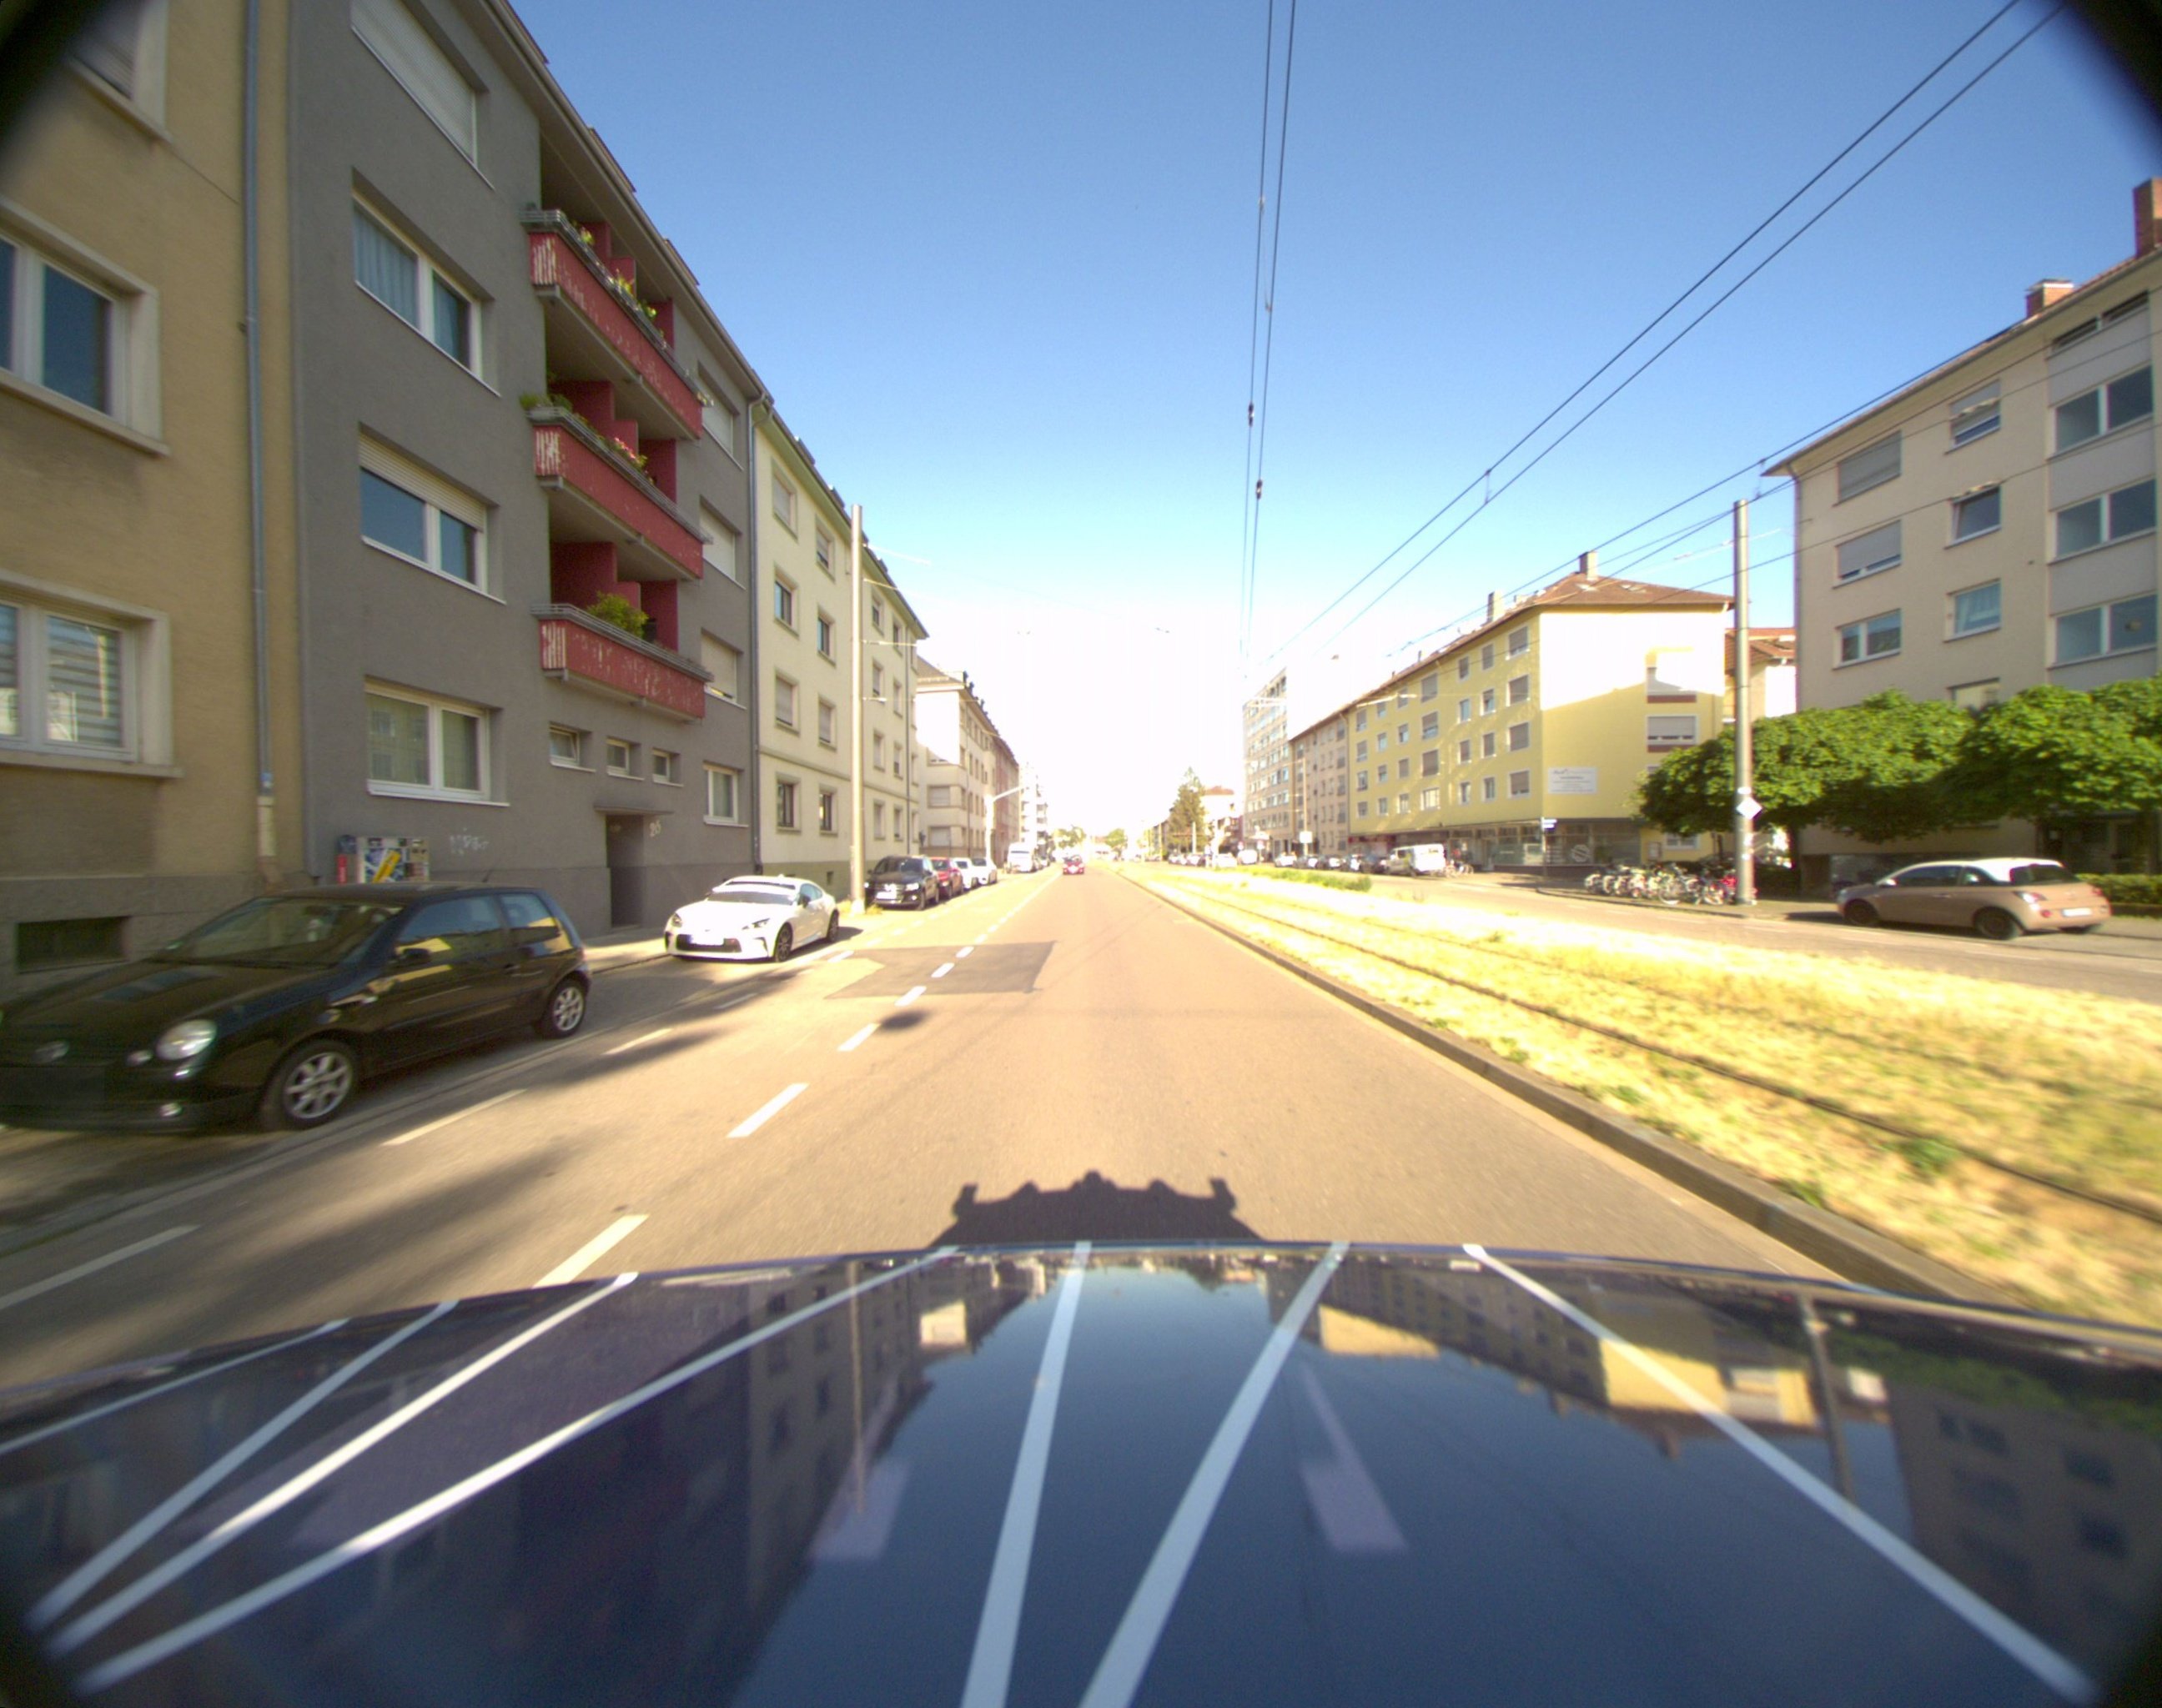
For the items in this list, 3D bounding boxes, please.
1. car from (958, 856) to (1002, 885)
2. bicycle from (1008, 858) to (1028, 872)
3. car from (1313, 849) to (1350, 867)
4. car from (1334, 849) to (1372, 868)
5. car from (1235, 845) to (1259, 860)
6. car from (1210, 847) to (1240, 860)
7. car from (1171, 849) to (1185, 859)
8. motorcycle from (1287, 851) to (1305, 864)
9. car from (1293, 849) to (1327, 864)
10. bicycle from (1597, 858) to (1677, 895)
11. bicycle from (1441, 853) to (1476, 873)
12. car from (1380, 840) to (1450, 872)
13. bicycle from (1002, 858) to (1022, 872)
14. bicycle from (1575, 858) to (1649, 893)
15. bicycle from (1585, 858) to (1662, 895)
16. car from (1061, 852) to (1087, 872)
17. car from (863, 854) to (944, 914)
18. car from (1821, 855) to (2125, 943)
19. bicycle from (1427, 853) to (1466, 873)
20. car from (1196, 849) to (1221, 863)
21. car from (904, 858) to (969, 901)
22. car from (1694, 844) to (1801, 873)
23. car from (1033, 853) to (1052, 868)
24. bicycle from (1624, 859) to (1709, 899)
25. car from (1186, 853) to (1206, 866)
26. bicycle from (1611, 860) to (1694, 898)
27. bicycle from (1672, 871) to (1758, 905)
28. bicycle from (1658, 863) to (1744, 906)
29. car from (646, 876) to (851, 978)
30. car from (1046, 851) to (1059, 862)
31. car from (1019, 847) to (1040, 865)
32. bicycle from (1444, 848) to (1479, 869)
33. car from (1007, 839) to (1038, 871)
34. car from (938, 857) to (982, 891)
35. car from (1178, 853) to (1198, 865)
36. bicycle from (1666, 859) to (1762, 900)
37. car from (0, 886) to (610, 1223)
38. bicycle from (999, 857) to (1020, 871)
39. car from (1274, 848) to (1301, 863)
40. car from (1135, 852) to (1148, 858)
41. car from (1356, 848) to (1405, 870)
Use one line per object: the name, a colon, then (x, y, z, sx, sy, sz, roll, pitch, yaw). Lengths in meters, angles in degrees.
car: (-5.270, 0.827, 40.058, 1.698, 1.450, 4.379, 0, 0, 1)
bicycle: (-5.155, 0.889, 61.974, 0.487, 1.081, 2.023, -4, 1, -42)
car: (22.350, 0.313, 68.012, 1.787, 1.412, 4.414, -3, 0, 0)
car: (22.350, 0.357, 62.564, 1.787, 1.377, 3.767, -3, 1, 0)
car: (22.731, -0.212, 104.289, 1.999, 1.887, 4.669, -3, 1, -2)
car: (14.939, -0.055, 79.155, 1.839, 1.377, 4.412, 0, 0, -6)
car: (14.424, -0.019, 113.342, 1.617, 1.550, 3.999, 1, 0, 0)
motorcycle: (22.041, 0.357, 77.990, 2.115, 1.132, 0.486, -4, 1, -33)
car: (22.173, 0.232, 73.607, 1.788, 1.377, 4.414, -3, 0, -2)
bicycle: (18.306, 0.731, 25.057, 2.052, 1.086, 0.616, -3, 1, 6)
bicycle: (22.535, 0.532, 45.334, 1.824, 1.099, 0.390, -3, 1, 1)
car: (22.393, 0.092, 51.293, 1.999, 1.938, 5.499, -3, 0, -3)
bicycle: (-5.561, 0.858, 61.130, 1.912, 1.081, 0.474, 1, 5, 43)
bicycle: (18.434, 0.755, 26.408, 2.052, 1.086, 0.616, -3, 1, 6)
bicycle: (18.355, 0.760, 25.752, 2.052, 1.086, 0.616, -3, 1, 6)
car: (-0.496, 0.587, 58.312, 1.862, 1.461, 3.808, 0, 0, 1)
car: (-5.442, 0.868, 23.797, 1.640, 1.638, 4.372, 1, 0, -2)
car: (17.581, 0.800, 15.286, 1.640, 1.434, 3.733, -3, 1, -2)
bicycle: (22.520, 0.523, 46.837, 2.103, 1.099, 0.472, -3, 1, 1)
car: (14.384, 0.210, 85.745, 1.788, 1.519, 4.413, 0, 0, -5)
car: (-5.483, 0.914, 29.329, 1.639, 1.508, 4.188, 0, 0, 1)
car: (34.086, 0.233, 38.914, 3.998, 1.405, 1.772, 1, 0, -2)
car: (-4.143, 0.692, 82.551, 1.625, 1.452, 4.055, 2, 0, 2)
bicycle: (18.175, 0.766, 23.608, 2.052, 1.086, 0.616, -3, 1, 6)
car: (14.061, 0.623, 93.096, 1.787, 1.572, 4.607, 0, 0, 0)
bicycle: (18.242, 0.800, 24.265, 2.052, 1.086, 0.616, -3, 1, 6)
bicycle: (17.730, 0.937, 21.310, 0.377, 0.861, 2.052, -4, 1, -11)
bicycle: (17.252, 0.821, 21.211, 0.511, 1.086, 1.934, -4, 1, -11)
car: (-5.540, 1.138, 13.321, 1.706, 1.268, 4.302, 3, 1, -1)
car: (-3.894, 0.378, 105.469, 1.763, 1.543, 2.649, 0, 0, -2)
car: (-4.977, 0.169, 74.037, 1.852, 1.628, 4.574, 0, 0, -2)
bicycle: (22.502, 0.273, 44.904, 1.824, 1.099, 0.390, -3, 1, 1)
car: (-5.103, 0.046, 66.857, 2.156, 2.681, 6.291, 1, 1, 0)
car: (-5.585, 0.875, 35.490, 1.640, 1.450, 4.080, 0, 0, -4)
car: (14.039, 0.649, 100.245, 1.862, 1.541, 4.239, 1, 0, -2)
bicycle: (18.471, 0.758, 22.237, 2.050, 1.086, 0.616, -3, 1, 27)
car: (-5.528, 1.079, 5.663, 1.639, 1.445, 3.789, 2, 1, 0)
bicycle: (-5.685, 0.803, 60.061, 1.912, 1.080, 0.475, 2, 0, 43)
car: (22.267, 0.096, 82.026, 1.763, 1.477, 4.199, -3, 0, 0)
car: (15.394, 0.241, 193.732, 1.718, 1.379, 3.719, -3, 1, 31)
car: (22.316, 0.352, 56.859, 1.787, 1.465, 4.595, -3, 0, 0)
